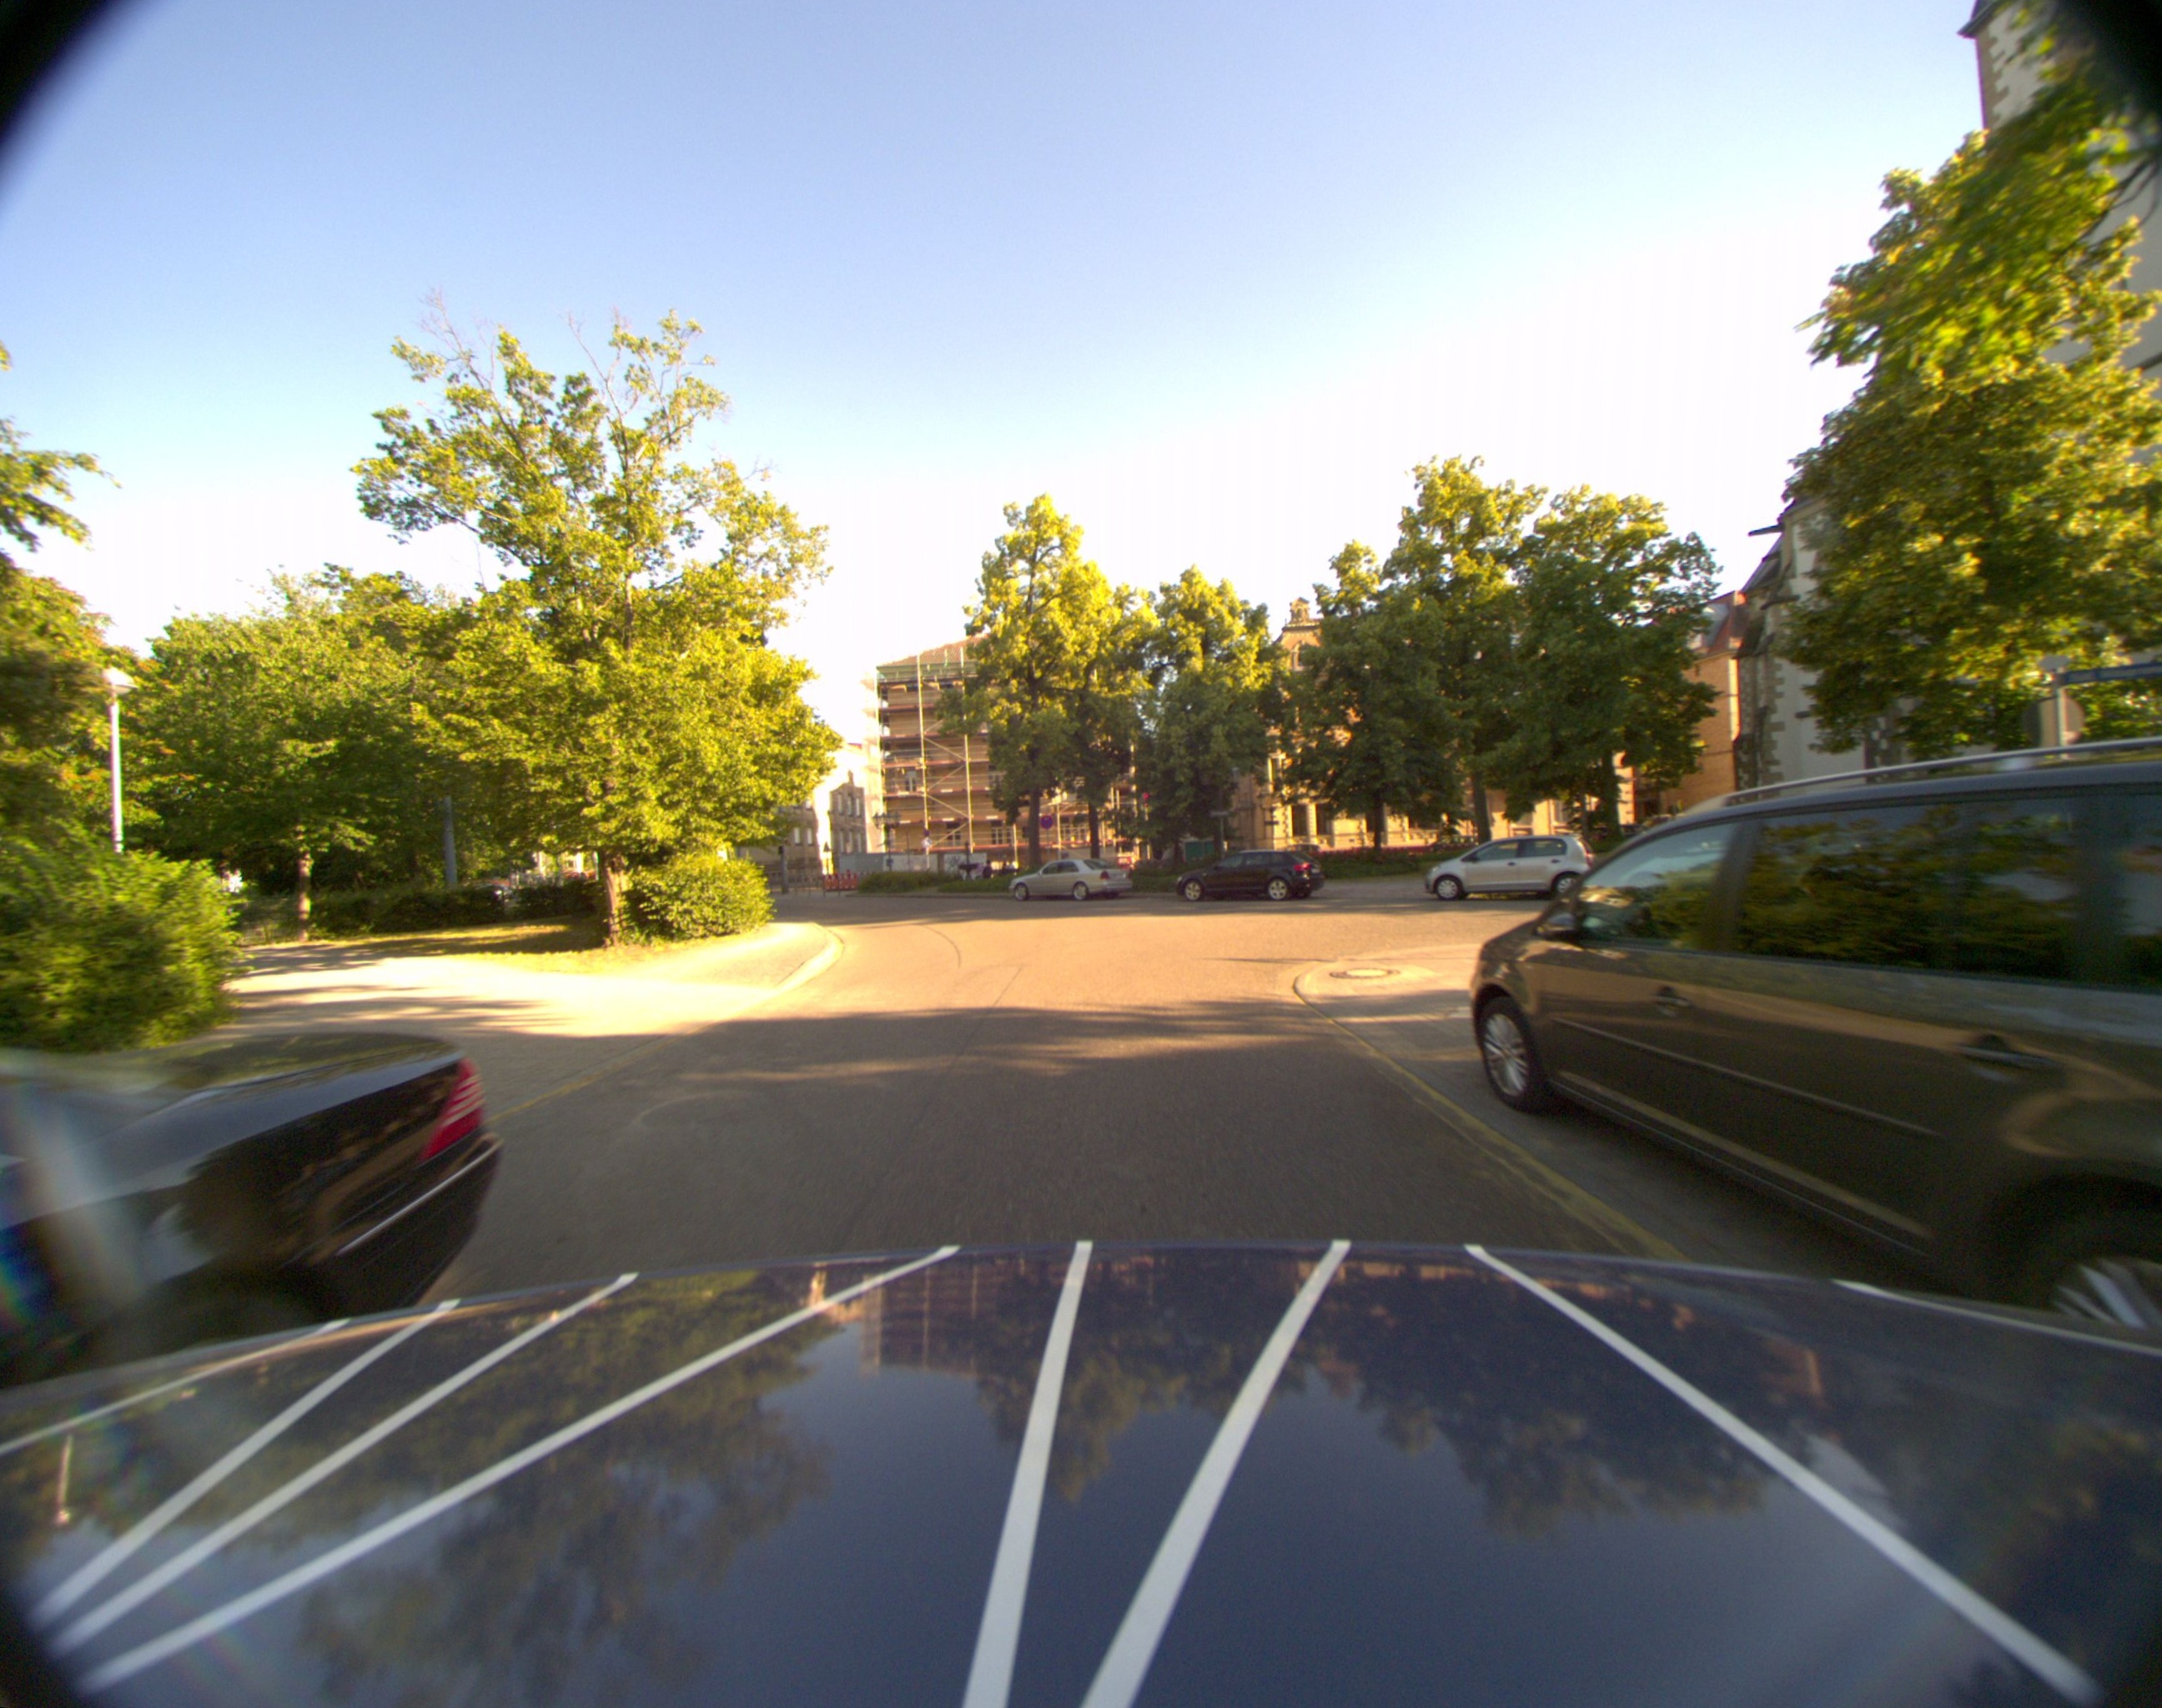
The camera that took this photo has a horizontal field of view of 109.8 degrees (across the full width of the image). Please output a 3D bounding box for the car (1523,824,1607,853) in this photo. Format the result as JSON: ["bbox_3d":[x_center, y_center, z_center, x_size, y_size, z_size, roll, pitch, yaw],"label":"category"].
[{"bbox_3d":[32.100,-1.007,50.447,4.217,1.646,2.000,-3,1,1],"label":"car"}]

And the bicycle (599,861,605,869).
[{"bbox_3d":[-71.761,1.684,113.808,0.459,1.202,1.874,-3,0,-27],"label":"bicycle"}]

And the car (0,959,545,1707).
[{"bbox_3d":[-2.786,1.149,0.195,1.770,1.459,4.865,-3,0,0],"label":"car"}]

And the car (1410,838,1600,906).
[{"bbox_3d":[9.800,0.435,17.666,3.596,1.431,1.621,-3,-1,38],"label":"car"}]

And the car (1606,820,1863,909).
[{"bbox_3d":[12.796,0.228,15.185,3.687,1.570,1.713,-3,1,37],"label":"car"}]

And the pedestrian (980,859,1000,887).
[{"bbox_3d":[-4.346,0.909,36.230,0.554,1.290,0.764,-3,1,-36],"label":"pedestrian"}]

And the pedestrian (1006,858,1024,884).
[{"bbox_3d":[-3.211,0.832,37.007,0.554,1.226,0.723,-3,1,-36],"label":"pedestrian"}]

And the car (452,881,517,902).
[{"bbox_3d":[-48.007,2.995,61.144,4.008,1.537,1.730,0,-1,-41],"label":"car"}]

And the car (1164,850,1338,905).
[{"bbox_3d":[4.795,0.692,21.758,4.483,1.407,1.834,-3,-2,38],"label":"car"}]

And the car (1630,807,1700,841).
[{"bbox_3d":[43.052,-2.157,56.106,1.890,2.248,4.220,-3,0,1],"label":"car"}]

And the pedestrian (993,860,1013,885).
[{"bbox_3d":[-3.772,0.903,36.789,0.554,1.188,0.882,-3,0,-35],"label":"pedestrian"}]

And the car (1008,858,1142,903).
[{"bbox_3d":[-0.285,0.930,26.014,4.486,1.407,1.789,-3,-2,41],"label":"car"}]

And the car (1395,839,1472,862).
[{"bbox_3d":[23.592,-0.221,50.910,4.217,1.270,1.912,-3,1,1],"label":"car"}]

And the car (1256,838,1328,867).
[{"bbox_3d":[14.054,-0.107,50.762,4.217,1.646,1.912,-3,1,1],"label":"car"}]

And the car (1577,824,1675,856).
[{"bbox_3d":[31.054,-0.785,43.379,4.217,1.646,1.892,-3,0,0],"label":"car"}]

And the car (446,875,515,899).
[{"bbox_3d":[-54.895,3.010,69.492,4.821,1.986,2.075,0,-1,-42],"label":"car"}]

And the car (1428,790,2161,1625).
[{"bbox_3d":[3.104,0.672,2.700,1.806,1.666,4.321,-5,0,2],"label":"car"}]
